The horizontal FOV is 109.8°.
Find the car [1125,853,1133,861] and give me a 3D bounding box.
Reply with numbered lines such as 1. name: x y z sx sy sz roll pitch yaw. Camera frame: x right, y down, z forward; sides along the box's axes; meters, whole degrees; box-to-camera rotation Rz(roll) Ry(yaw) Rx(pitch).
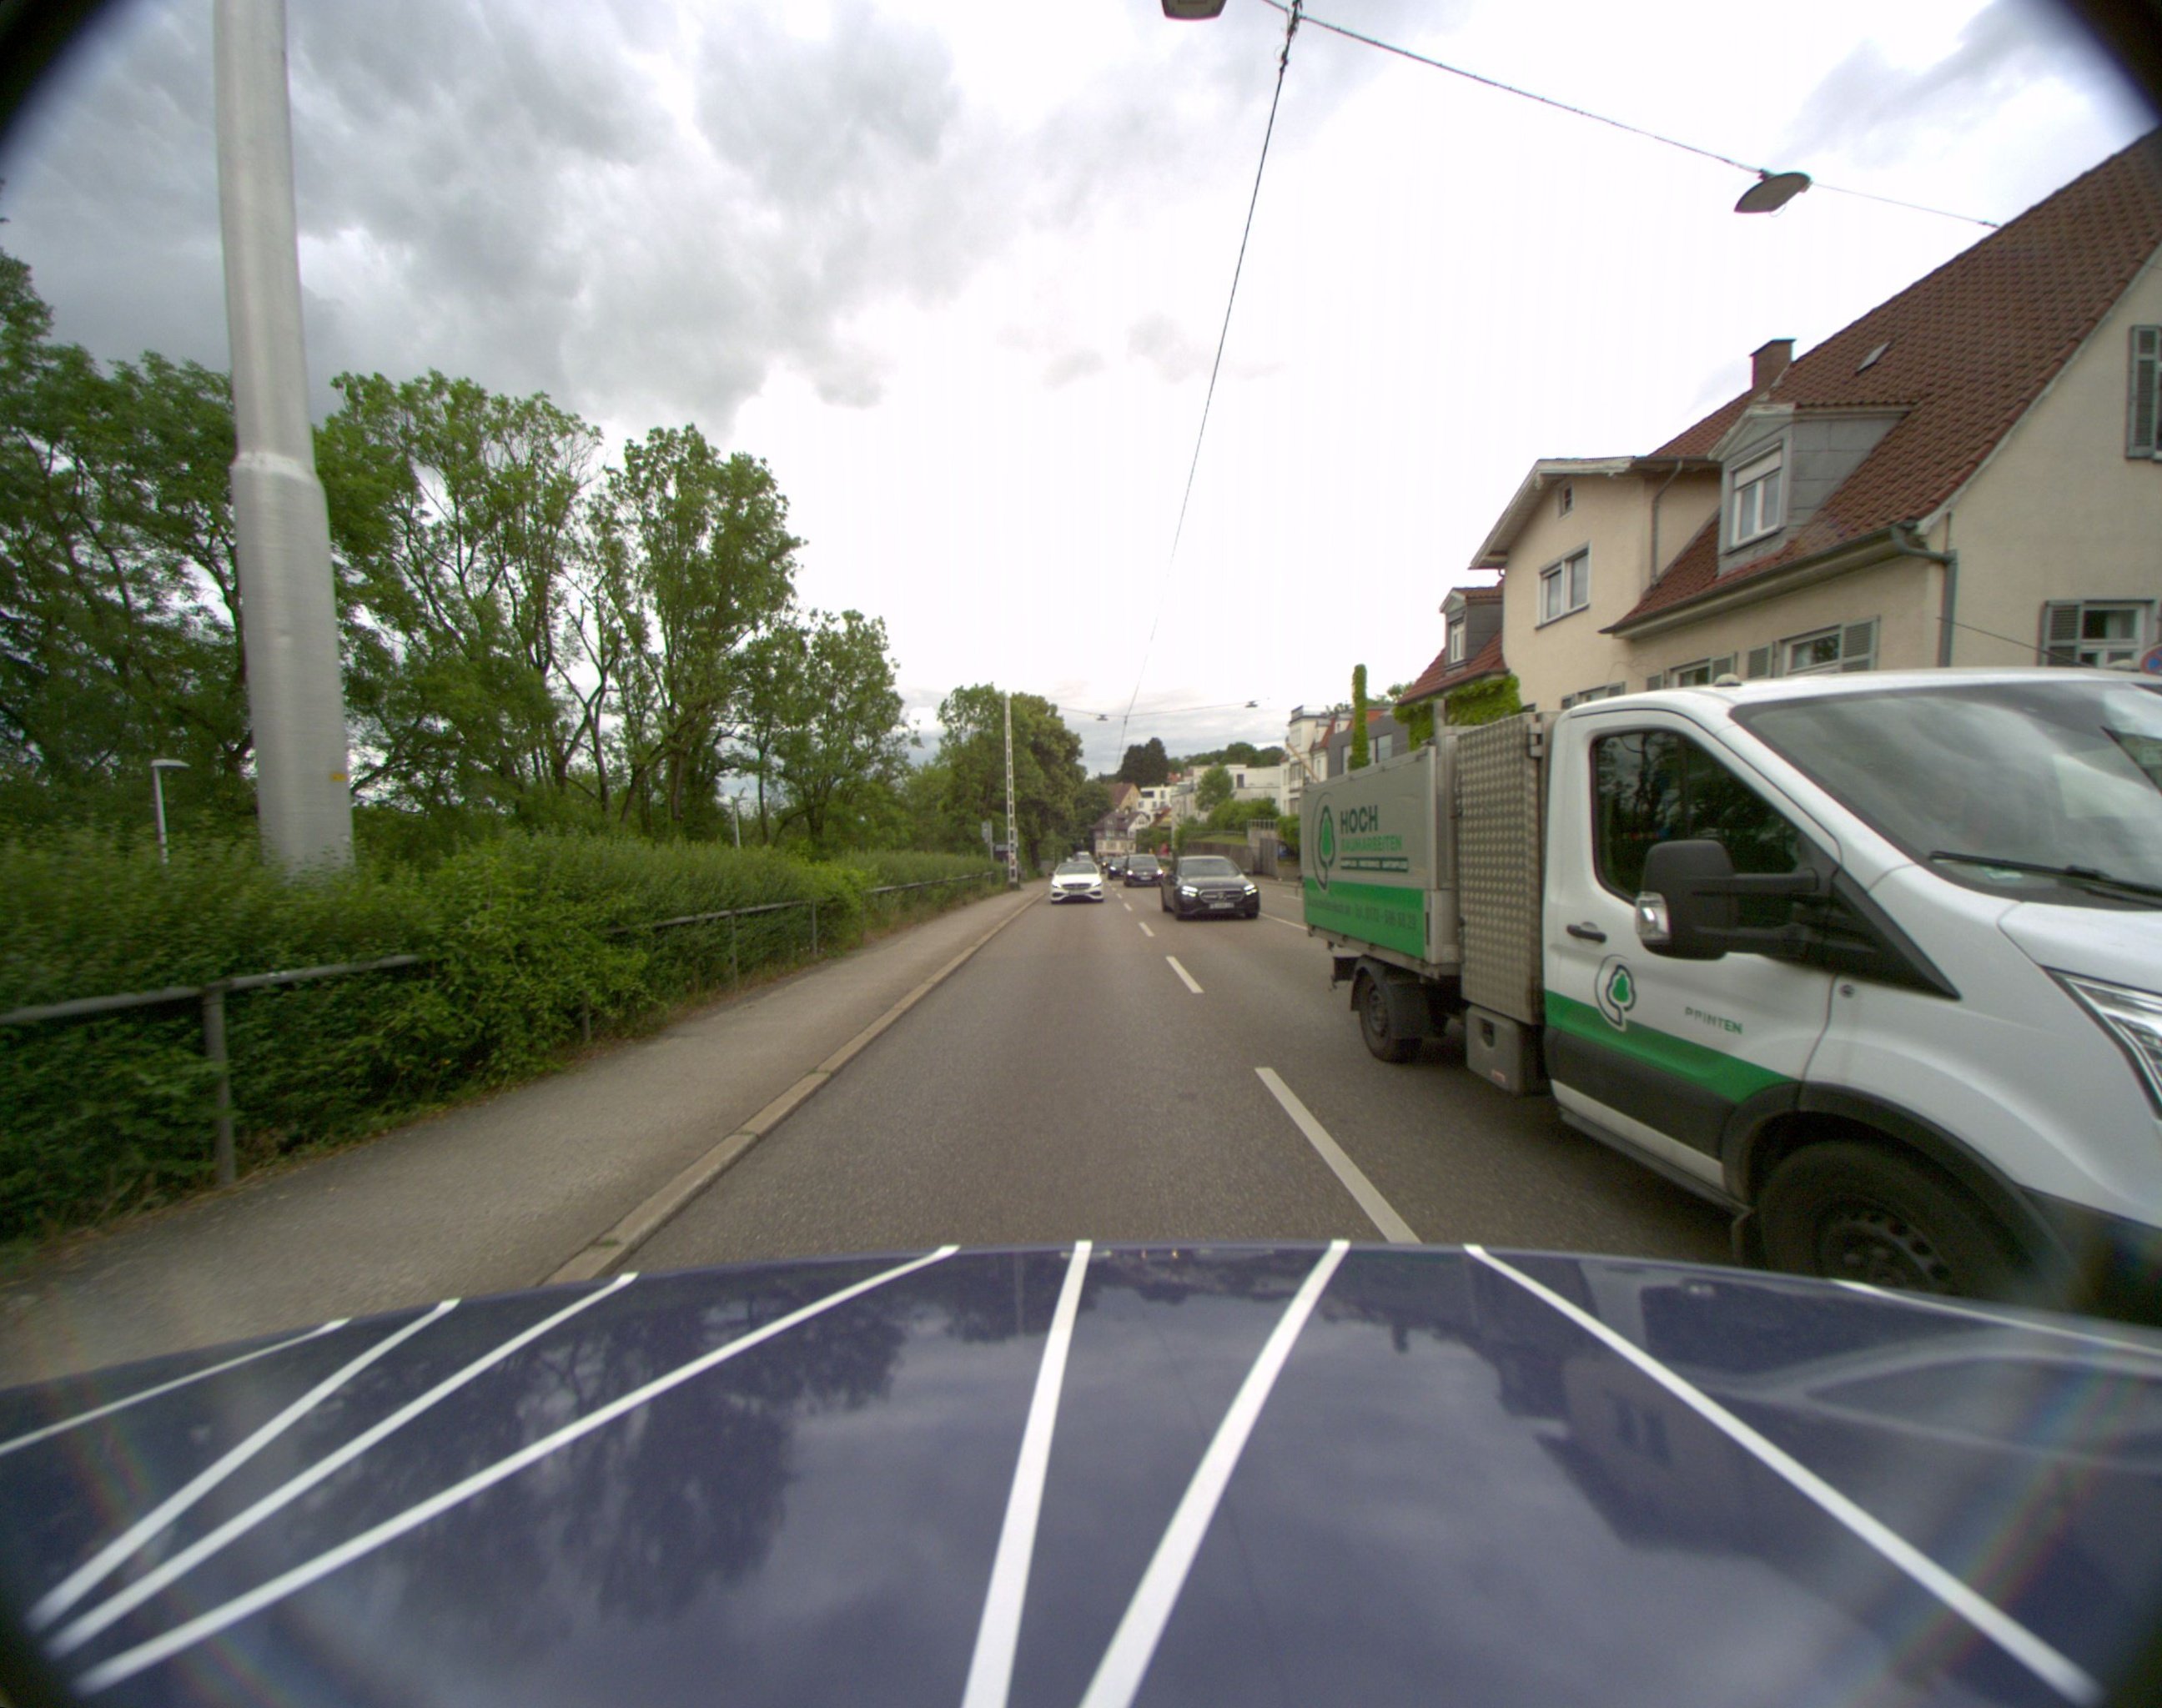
1. car: 10.587 0.594 167.711 1.709 1.702 3.868 -1 0 1

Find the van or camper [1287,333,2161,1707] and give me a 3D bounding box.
1. van or camper: 3.025 0.317 3.676 2.349 2.647 5.962 -3 2 0

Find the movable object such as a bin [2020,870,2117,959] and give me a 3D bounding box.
1. movable object such as a bin: 13.941 0.837 10.740 0.578 1.182 0.604 -2 1 -5

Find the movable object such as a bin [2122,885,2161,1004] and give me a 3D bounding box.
1. movable object such as a bin: 11.467 0.920 7.715 0.812 1.182 0.698 -5 1 -5

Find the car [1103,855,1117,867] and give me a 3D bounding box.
1. car: 3.698 0.816 96.445 1.680 1.426 3.713 -1 1 2

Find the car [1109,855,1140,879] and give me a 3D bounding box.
1. car: 2.938 0.877 52.090 1.878 1.521 4.000 -2 0 1

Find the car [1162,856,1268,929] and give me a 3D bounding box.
1. car: 3.148 0.853 18.703 1.878 1.521 4.335 -2 0 1

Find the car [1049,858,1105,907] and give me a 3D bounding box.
1. car: -0.110 0.943 26.866 1.809 1.521 4.000 -1 0 1

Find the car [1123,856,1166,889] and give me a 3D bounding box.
1. car: 3.141 0.878 38.301 1.878 1.521 4.000 -2 0 1

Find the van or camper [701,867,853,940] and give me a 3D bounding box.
1. van or camper: -11.047 1.691 28.314 2.220 2.316 6.184 0 0 11

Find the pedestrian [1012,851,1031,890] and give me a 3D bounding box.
1. pedestrian: -2.890 0.794 36.972 0.814 1.873 0.949 0 0 5
